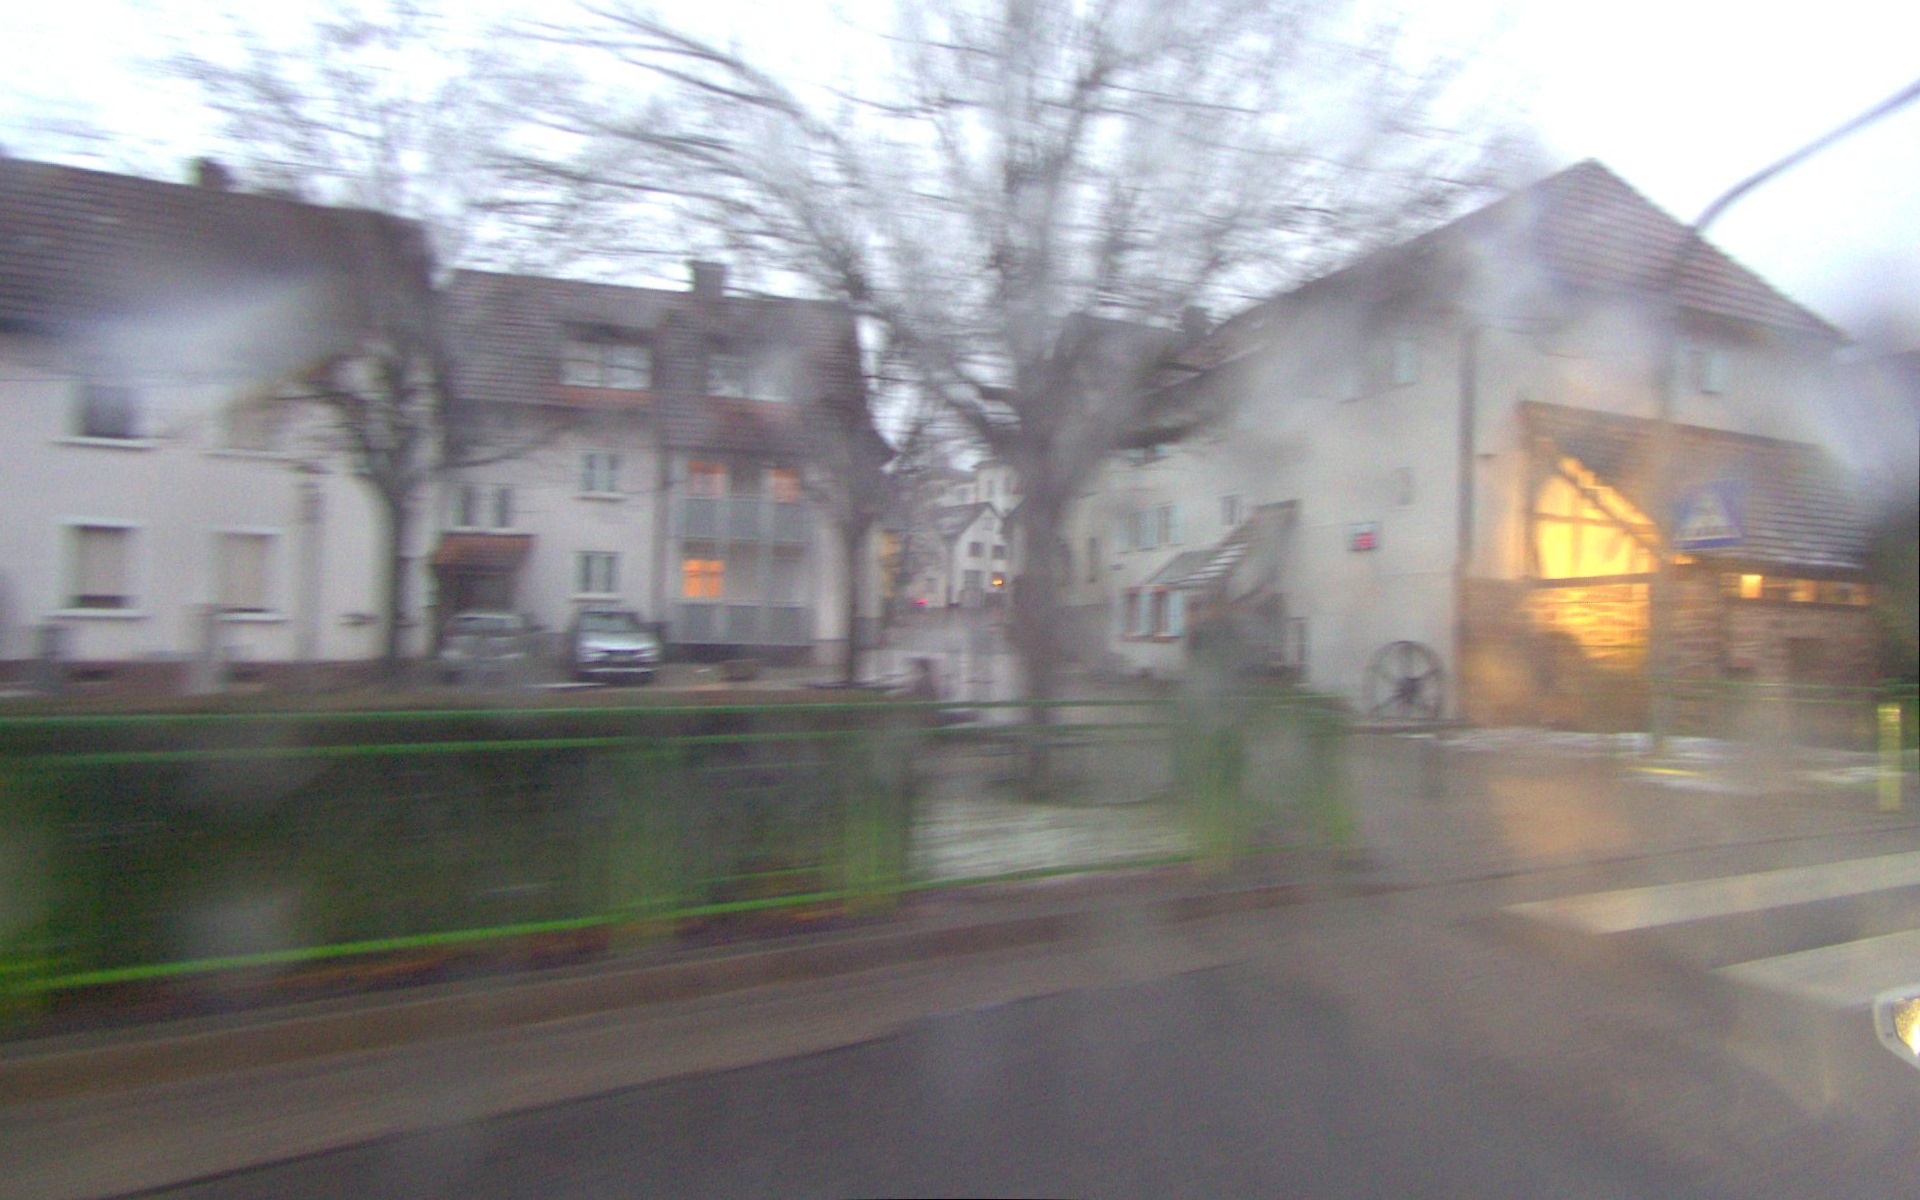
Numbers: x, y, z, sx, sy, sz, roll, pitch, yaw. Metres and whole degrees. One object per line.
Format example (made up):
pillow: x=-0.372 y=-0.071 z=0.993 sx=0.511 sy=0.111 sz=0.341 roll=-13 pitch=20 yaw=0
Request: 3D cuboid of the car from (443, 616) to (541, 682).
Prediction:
car: x=-10.531 y=1.073 z=22.761 sx=1.503 sy=1.142 sz=3.044 roll=1 pitch=3 yaw=-15

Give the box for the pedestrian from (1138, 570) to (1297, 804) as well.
pedestrian: x=2.044 y=0.663 z=8.075 sx=0.939 sy=1.758 sz=0.880 roll=1 pitch=0 yaw=-13

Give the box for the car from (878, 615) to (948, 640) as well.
car: x=-2.145 y=1.224 z=45.239 sx=2.982 sy=1.012 sz=1.423 roll=1 pitch=1 yaw=-11

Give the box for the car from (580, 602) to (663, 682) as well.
car: x=-7.955 y=0.932 z=23.635 sx=1.686 sy=1.633 sz=3.595 roll=1 pitch=1 yaw=-19
